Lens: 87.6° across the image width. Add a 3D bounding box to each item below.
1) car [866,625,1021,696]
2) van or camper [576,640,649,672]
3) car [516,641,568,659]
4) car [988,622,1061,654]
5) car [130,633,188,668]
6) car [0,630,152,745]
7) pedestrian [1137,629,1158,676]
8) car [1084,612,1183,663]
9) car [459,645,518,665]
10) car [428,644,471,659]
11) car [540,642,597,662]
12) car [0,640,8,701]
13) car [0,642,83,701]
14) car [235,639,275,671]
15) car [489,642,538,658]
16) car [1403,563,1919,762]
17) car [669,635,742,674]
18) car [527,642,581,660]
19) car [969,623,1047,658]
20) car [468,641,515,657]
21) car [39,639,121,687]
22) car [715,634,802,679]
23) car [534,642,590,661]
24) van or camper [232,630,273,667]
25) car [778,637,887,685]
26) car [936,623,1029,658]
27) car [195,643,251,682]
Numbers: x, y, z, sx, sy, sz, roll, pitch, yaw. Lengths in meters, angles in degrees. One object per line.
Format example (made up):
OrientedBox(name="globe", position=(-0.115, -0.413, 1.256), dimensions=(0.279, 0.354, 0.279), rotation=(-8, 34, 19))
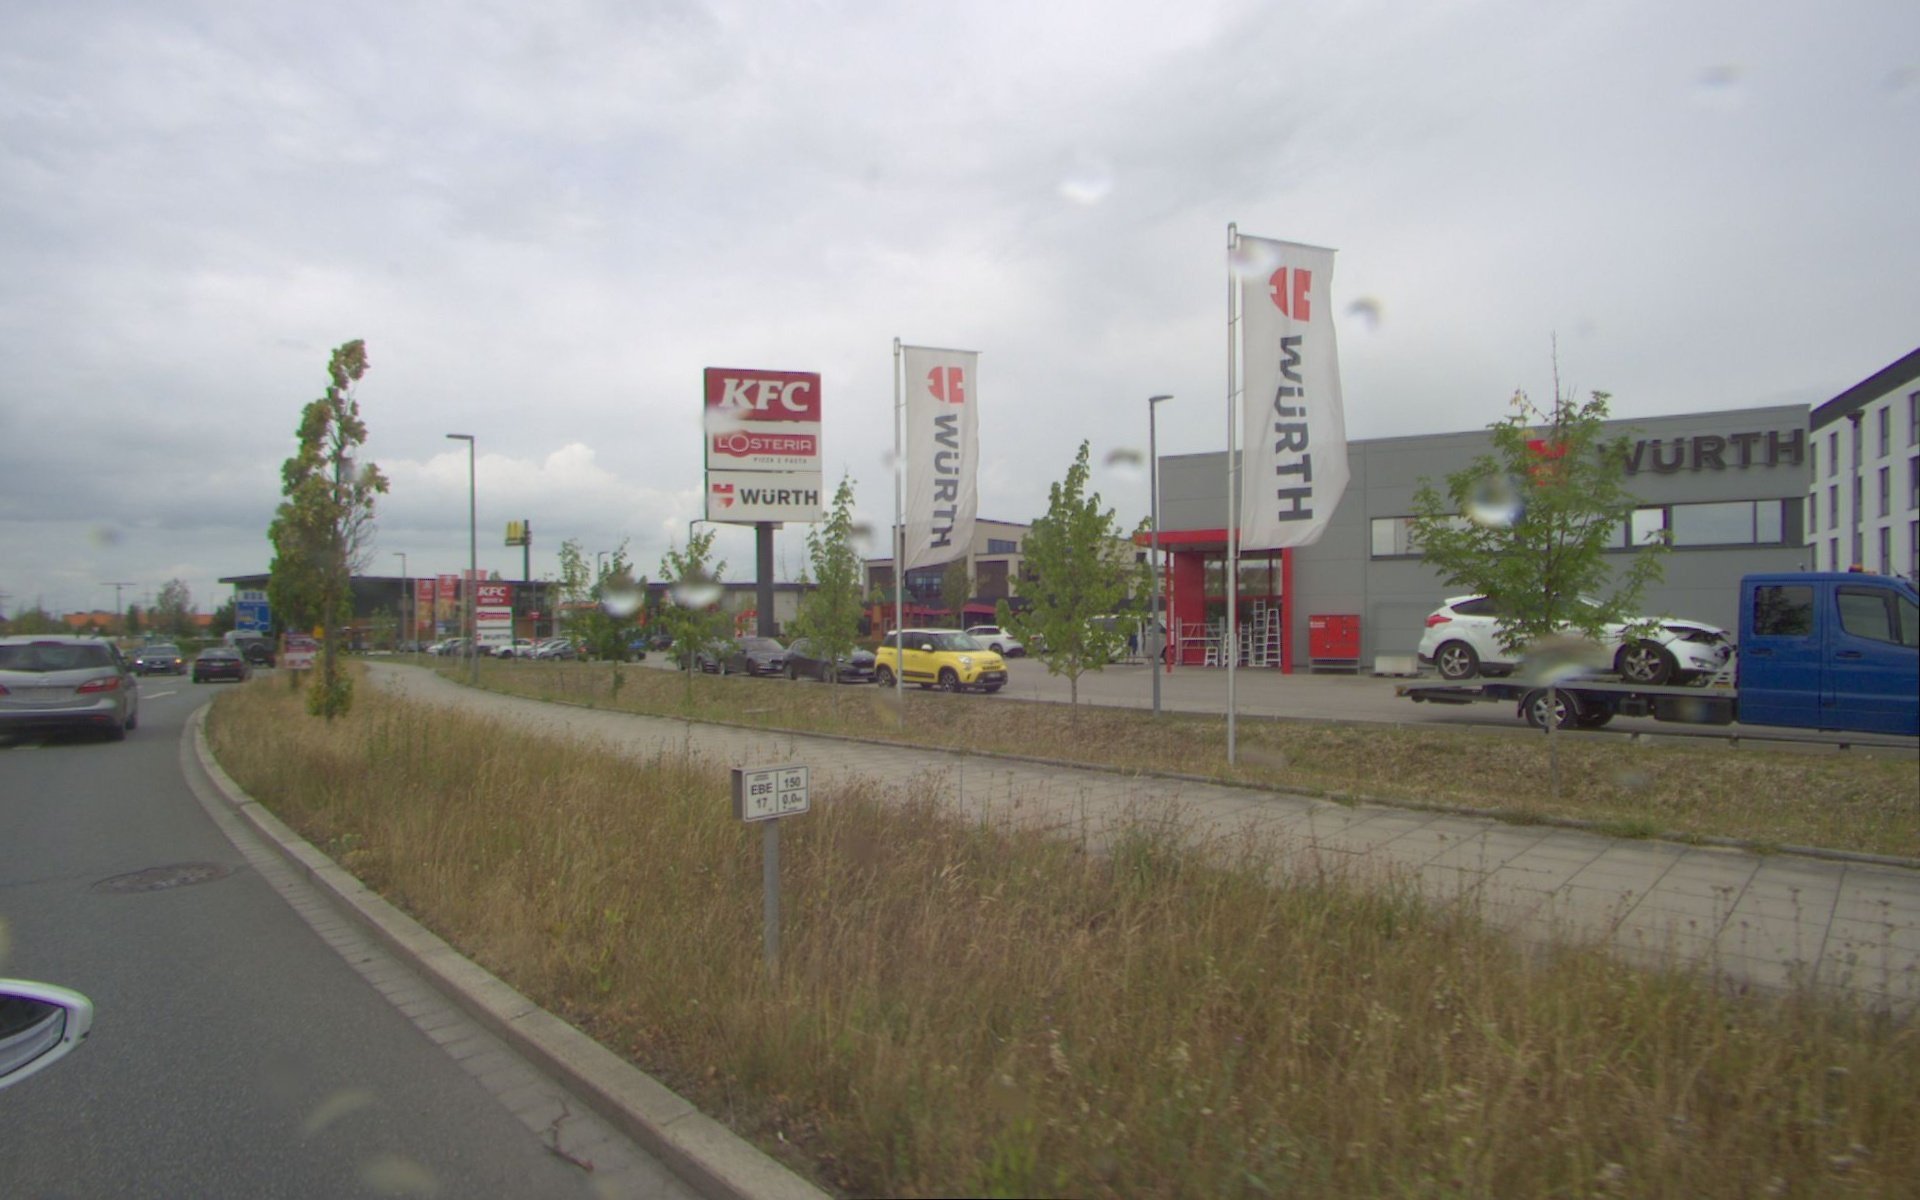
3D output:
OrientedBox(name="car", position=(-0.516, 1.569, 26.866), dimensions=(1.735, 1.705, 4.259), rotation=(-1, -1, -43))
OrientedBox(name="van or camper", position=(-21.363, 3.426, 61.614), dimensions=(3.948, 1.817, 1.810), rotation=(0, -1, -34))
OrientedBox(name="car", position=(-33.221, 3.972, 79.613), dimensions=(3.555, 1.260, 1.620), rotation=(0, -1, -33))
OrientedBox(name="car", position=(3.868, 2.266, 59.944), dimensions=(3.940, 1.884, 1.991), rotation=(-1, -1, 29))
OrientedBox(name="car", position=(-38.637, 2.398, 48.383), dimensions=(1.885, 1.588, 4.307), rotation=(0, -2, -35))
OrientedBox(name="car", position=(-14.178, 1.281, 16.008), dimensions=(1.800, 1.583, 4.368), rotation=(2, -2, -37))
OrientedBox(name="pedestrian", position=(7.406, 2.056, 39.577), dimensions=(0.649, 1.831, 0.646), rotation=(0, 0, 29))
OrientedBox(name="car", position=(7.101, 1.549, 40.982), dimensions=(3.619, 2.005, 1.669), rotation=(-2, -1, 28))
OrientedBox(name="car", position=(-32.886, 3.790, 69.817), dimensions=(3.555, 1.260, 1.620), rotation=(0, -1, -33))
OrientedBox(name="car", position=(-48.225, 4.854, 94.628), dimensions=(3.555, 1.260, 1.620), rotation=(0, -1, -33))
OrientedBox(name="car", position=(-28.039, 3.702, 71.756), dimensions=(3.555, 1.260, 1.620), rotation=(0, -1, -33))
OrientedBox(name="car", position=(-23.286, 1.692, 22.783), dimensions=(1.778, 1.469, 4.219), rotation=(0, -1, -36))
OrientedBox(name="car", position=(-27.744, 2.081, 29.871), dimensions=(1.787, 1.527, 4.853), rotation=(0, -1, -34))
OrientedBox(name="car", position=(-45.315, 3.525, 64.404), dimensions=(1.974, 1.948, 4.819), rotation=(0, -2, -34))
OrientedBox(name="car", position=(-37.000, 4.125, 83.044), dimensions=(3.555, 1.260, 1.620), rotation=(0, -1, -33))
OrientedBox(name="car", position=(10.682, 0.795, 14.345), dimensions=(2.177, 2.353, 7.792), rotation=(0, -1, -40))
OrientedBox(name="car", position=(-10.682, 2.238, 41.824), dimensions=(1.694, 1.518, 3.975), rotation=(-1, -1, -34))
OrientedBox(name="car", position=(-30.638, 3.835, 75.594), dimensions=(3.555, 1.260, 1.620), rotation=(0, -1, -33))
OrientedBox(name="car", position=(2.690, 2.228, 56.147), dimensions=(3.940, 1.884, 1.991), rotation=(-1, -1, 29))
OrientedBox(name="car", position=(-41.221, 4.319, 88.070), dimensions=(3.555, 1.260, 1.620), rotation=(0, -1, -33))
OrientedBox(name="car", position=(-32.253, 2.265, 36.820), dimensions=(1.886, 1.588, 4.305), rotation=(0, -2, -36))
OrientedBox(name="car", position=(-7.503, 2.050, 37.045), dimensions=(1.694, 1.518, 3.975), rotation=(-1, -1, -34))
OrientedBox(name="car", position=(-29.329, 3.770, 73.797), dimensions=(3.555, 1.260, 1.620), rotation=(0, -1, -33))
OrientedBox(name="van or camper", position=(-52.016, 3.532, 73.672), dimensions=(2.167, 2.573, 6.131), rotation=(0, -2, -33))
OrientedBox(name="car", position=(-4.113, 1.893, 31.833), dimensions=(1.721, 1.379, 3.973), rotation=(-1, -1, -36))
OrientedBox(name="car", position=(1.168, 2.184, 53.486), dimensions=(4.671, 1.771, 1.751), rotation=(-2, -1, 30))
OrientedBox(name="car", position=(-29.558, 2.454, 40.249), dimensions=(1.737, 1.404, 4.272), rotation=(0, -1, -35))
